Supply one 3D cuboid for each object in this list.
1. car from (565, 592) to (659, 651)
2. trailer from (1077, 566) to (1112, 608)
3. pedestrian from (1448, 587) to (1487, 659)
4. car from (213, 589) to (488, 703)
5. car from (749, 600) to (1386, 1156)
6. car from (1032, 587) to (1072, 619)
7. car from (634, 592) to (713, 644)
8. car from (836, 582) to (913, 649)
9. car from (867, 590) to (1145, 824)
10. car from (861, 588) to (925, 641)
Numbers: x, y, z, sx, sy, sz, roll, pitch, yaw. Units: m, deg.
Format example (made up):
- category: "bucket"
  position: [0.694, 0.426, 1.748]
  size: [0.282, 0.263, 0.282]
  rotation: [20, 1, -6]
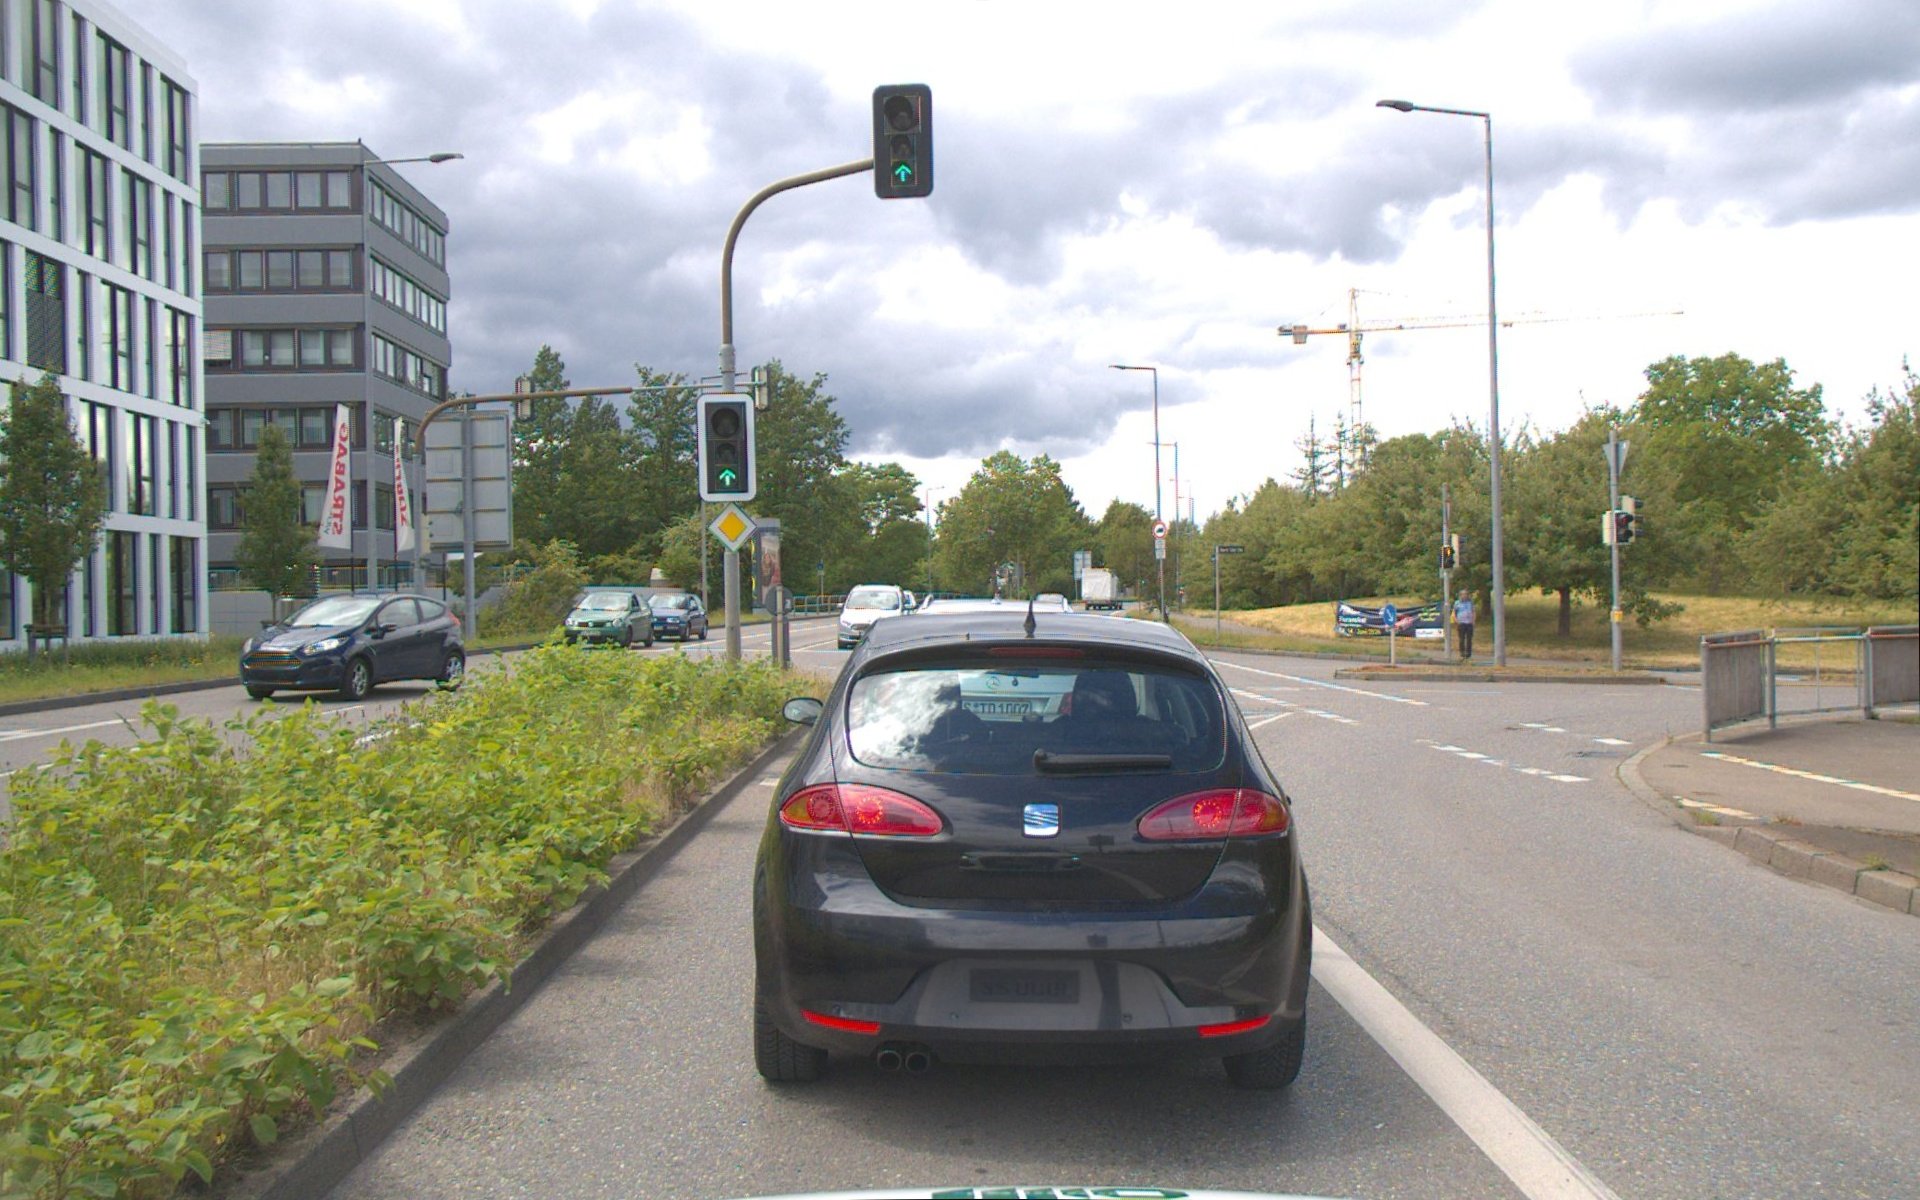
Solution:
- category: "car"
  position: [-9.005, 0.530, 43.079]
  size: [1.572, 1.457, 3.753]
  rotation: [0, 0, 1]
- category: "trailer"
  position: [10.306, -0.972, 126.201]
  size: [2.438, 3.127, 5.590]
  rotation: [1, 0, 6]
- category: "pedestrian"
  position: [13.041, 0.589, 42.527]
  size: [0.703, 1.824, 1.044]
  rotation: [1, -1, 3]
- category: "car"
  position: [-8.671, 0.621, 23.907]
  size: [1.717, 1.471, 3.894]
  rotation: [1, 0, 17]
- category: "car"
  position: [0.270, 0.742, 6.123]
  size: [1.676, 1.442, 3.459]
  rotation: [1, 0, -1]
- category: "car"
  position: [4.598, 0.125, 83.322]
  size: [1.952, 1.593, 4.472]
  rotation: [0, 0, 3]
- category: "car"
  position: [-8.600, 0.515, 49.940]
  size: [1.521, 1.444, 3.897]
  rotation: [1, 1, 3]
- category: "car"
  position: [-2.320, 0.387, 45.981]
  size: [1.783, 1.716, 4.646]
  rotation: [1, 1, 1]
- category: "car"
  position: [0.316, 0.709, 12.690]
  size: [1.797, 1.493, 3.751]
  rotation: [1, 0, 0]
- category: "car"
  position: [-2.068, 0.429, 51.991]
  size: [1.625, 1.545, 4.086]
  rotation: [1, 1, 3]
